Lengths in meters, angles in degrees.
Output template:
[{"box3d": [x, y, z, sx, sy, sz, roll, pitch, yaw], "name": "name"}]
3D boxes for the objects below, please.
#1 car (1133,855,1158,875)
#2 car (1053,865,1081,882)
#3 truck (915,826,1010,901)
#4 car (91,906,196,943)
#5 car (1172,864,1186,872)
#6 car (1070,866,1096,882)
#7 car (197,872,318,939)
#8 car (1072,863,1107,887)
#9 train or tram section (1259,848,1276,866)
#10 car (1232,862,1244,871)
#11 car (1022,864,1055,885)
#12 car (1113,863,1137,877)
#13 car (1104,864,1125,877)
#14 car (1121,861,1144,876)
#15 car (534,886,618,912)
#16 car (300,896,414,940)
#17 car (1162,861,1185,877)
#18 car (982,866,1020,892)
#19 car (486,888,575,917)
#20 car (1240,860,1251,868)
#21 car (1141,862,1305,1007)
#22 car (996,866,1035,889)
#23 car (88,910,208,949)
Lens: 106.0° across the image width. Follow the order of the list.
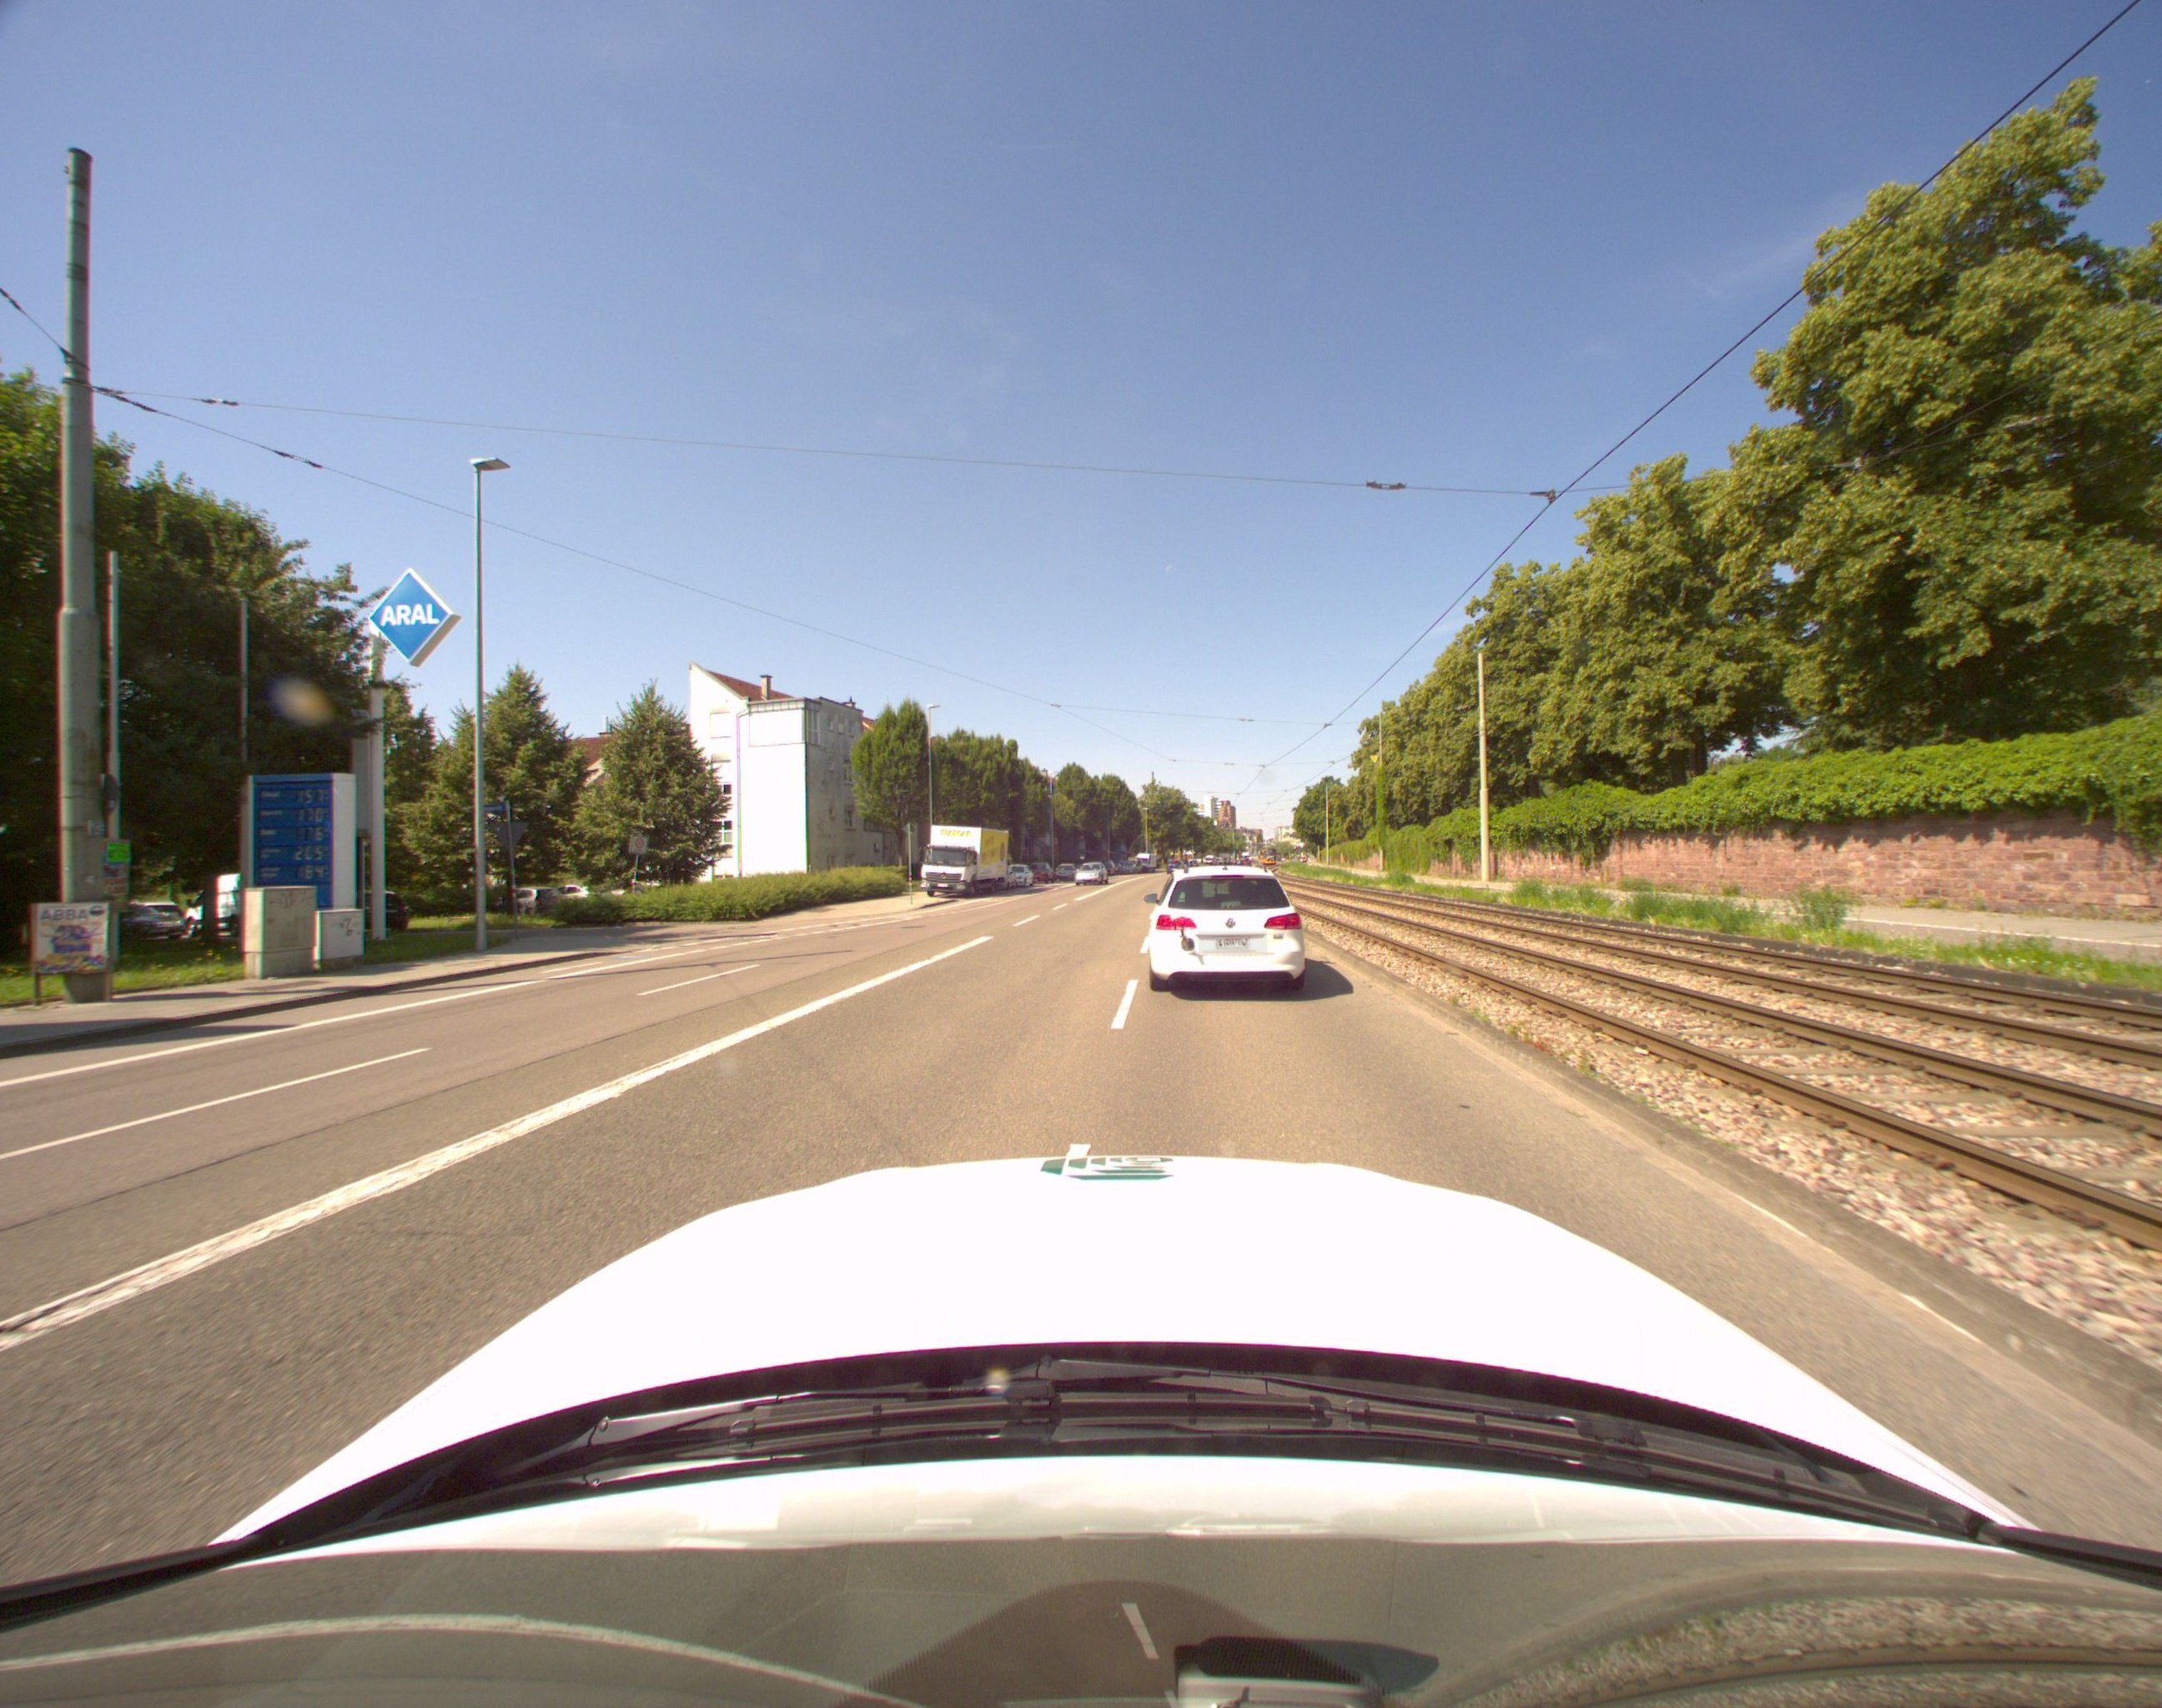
[{"box3d": [9.172, 1.591, 115.047, 1.979, 2.714, 7.187, 1, 0, 16], "name": "car"}, {"box3d": [-1.215, 1.733, 73.393, 1.770, 1.483, 4.868, 0, -1, 8], "name": "car"}, {"box3d": [-5.958, 0.462, 42.681, 2.652, 3.530, 8.608, 0, 0, 7], "name": "truck"}, {"box3d": [-41.021, 3.080, 35.645, 3.620, 1.443, 1.827, -2, -1, 20], "name": "car"}, {"box3d": [17.337, 2.506, 144.363, 1.686, 1.417, 4.019, -2, -1, 19], "name": "car"}, {"box3d": [0.205, 1.928, 79.809, 1.712, 1.474, 4.728, 0, -1, 10], "name": "car"}, {"box3d": [-33.079, 2.055, 32.728, 4.138, 2.538, 1.797, -2, -1, 20], "name": "car"}, {"box3d": [0.626, 1.366, 53.472, 1.649, 1.420, 4.319, -3, -1, 8], "name": "car"}, {"box3d": [40.169, 0.649, 175.383, 2.491, 3.747, 13.369, -2, -1, 17], "name": "train or tram section"}, {"box3d": [26.991, 2.094, 139.763, 1.787, 1.507, 4.016, -1, 0, 15], "name": "car"}, {"box3d": [-3.227, 1.562, 62.626, 1.721, 1.552, 4.328, 0, -1, 8], "name": "car"}, {"box3d": [5.495, 1.983, 101.421, 1.787, 1.724, 4.930, 1, 0, 16], "name": "car"}, {"box3d": [3.981, 1.942, 96.456, 1.679, 1.474, 4.062, 1, 0, 13], "name": "car"}, {"box3d": [6.800, 1.912, 106.946, 1.905, 1.948, 5.375, 1, 0, 15], "name": "car"}, {"box3d": [-25.572, 2.268, 41.254, 3.621, 1.205, 1.582, -2, -1, 17], "name": "car"}, {"box3d": [-27.375, 2.412, 30.806, 3.569, 1.484, 1.669, -2, -1, 19], "name": "car"}, {"box3d": [9.784, 1.579, 86.049, 1.787, 1.507, 4.016, -1, 0, 15], "name": "car"}, {"box3d": [-4.869, 1.496, 49.886, 1.601, 1.484, 3.641, 0, -1, 5], "name": "car"}, {"box3d": [-26.391, 2.327, 39.077, 3.621, 1.205, 1.582, -2, -1, 17], "name": "car"}, {"box3d": [30.893, 1.888, 153.124, 1.787, 1.460, 4.016, -2, -1, 15], "name": "car"}, {"box3d": [1.672, 0.858, 10.707, 1.683, 1.451, 4.465, 0, 0, 5], "name": "car"}, {"box3d": [-4.340, 1.548, 54.435, 1.748, 1.429, 4.290, 0, -1, 7], "name": "car"}, {"box3d": [-36.287, 2.935, 31.682, 3.955, 1.361, 1.640, -2, -1, 18], "name": "car"}]
